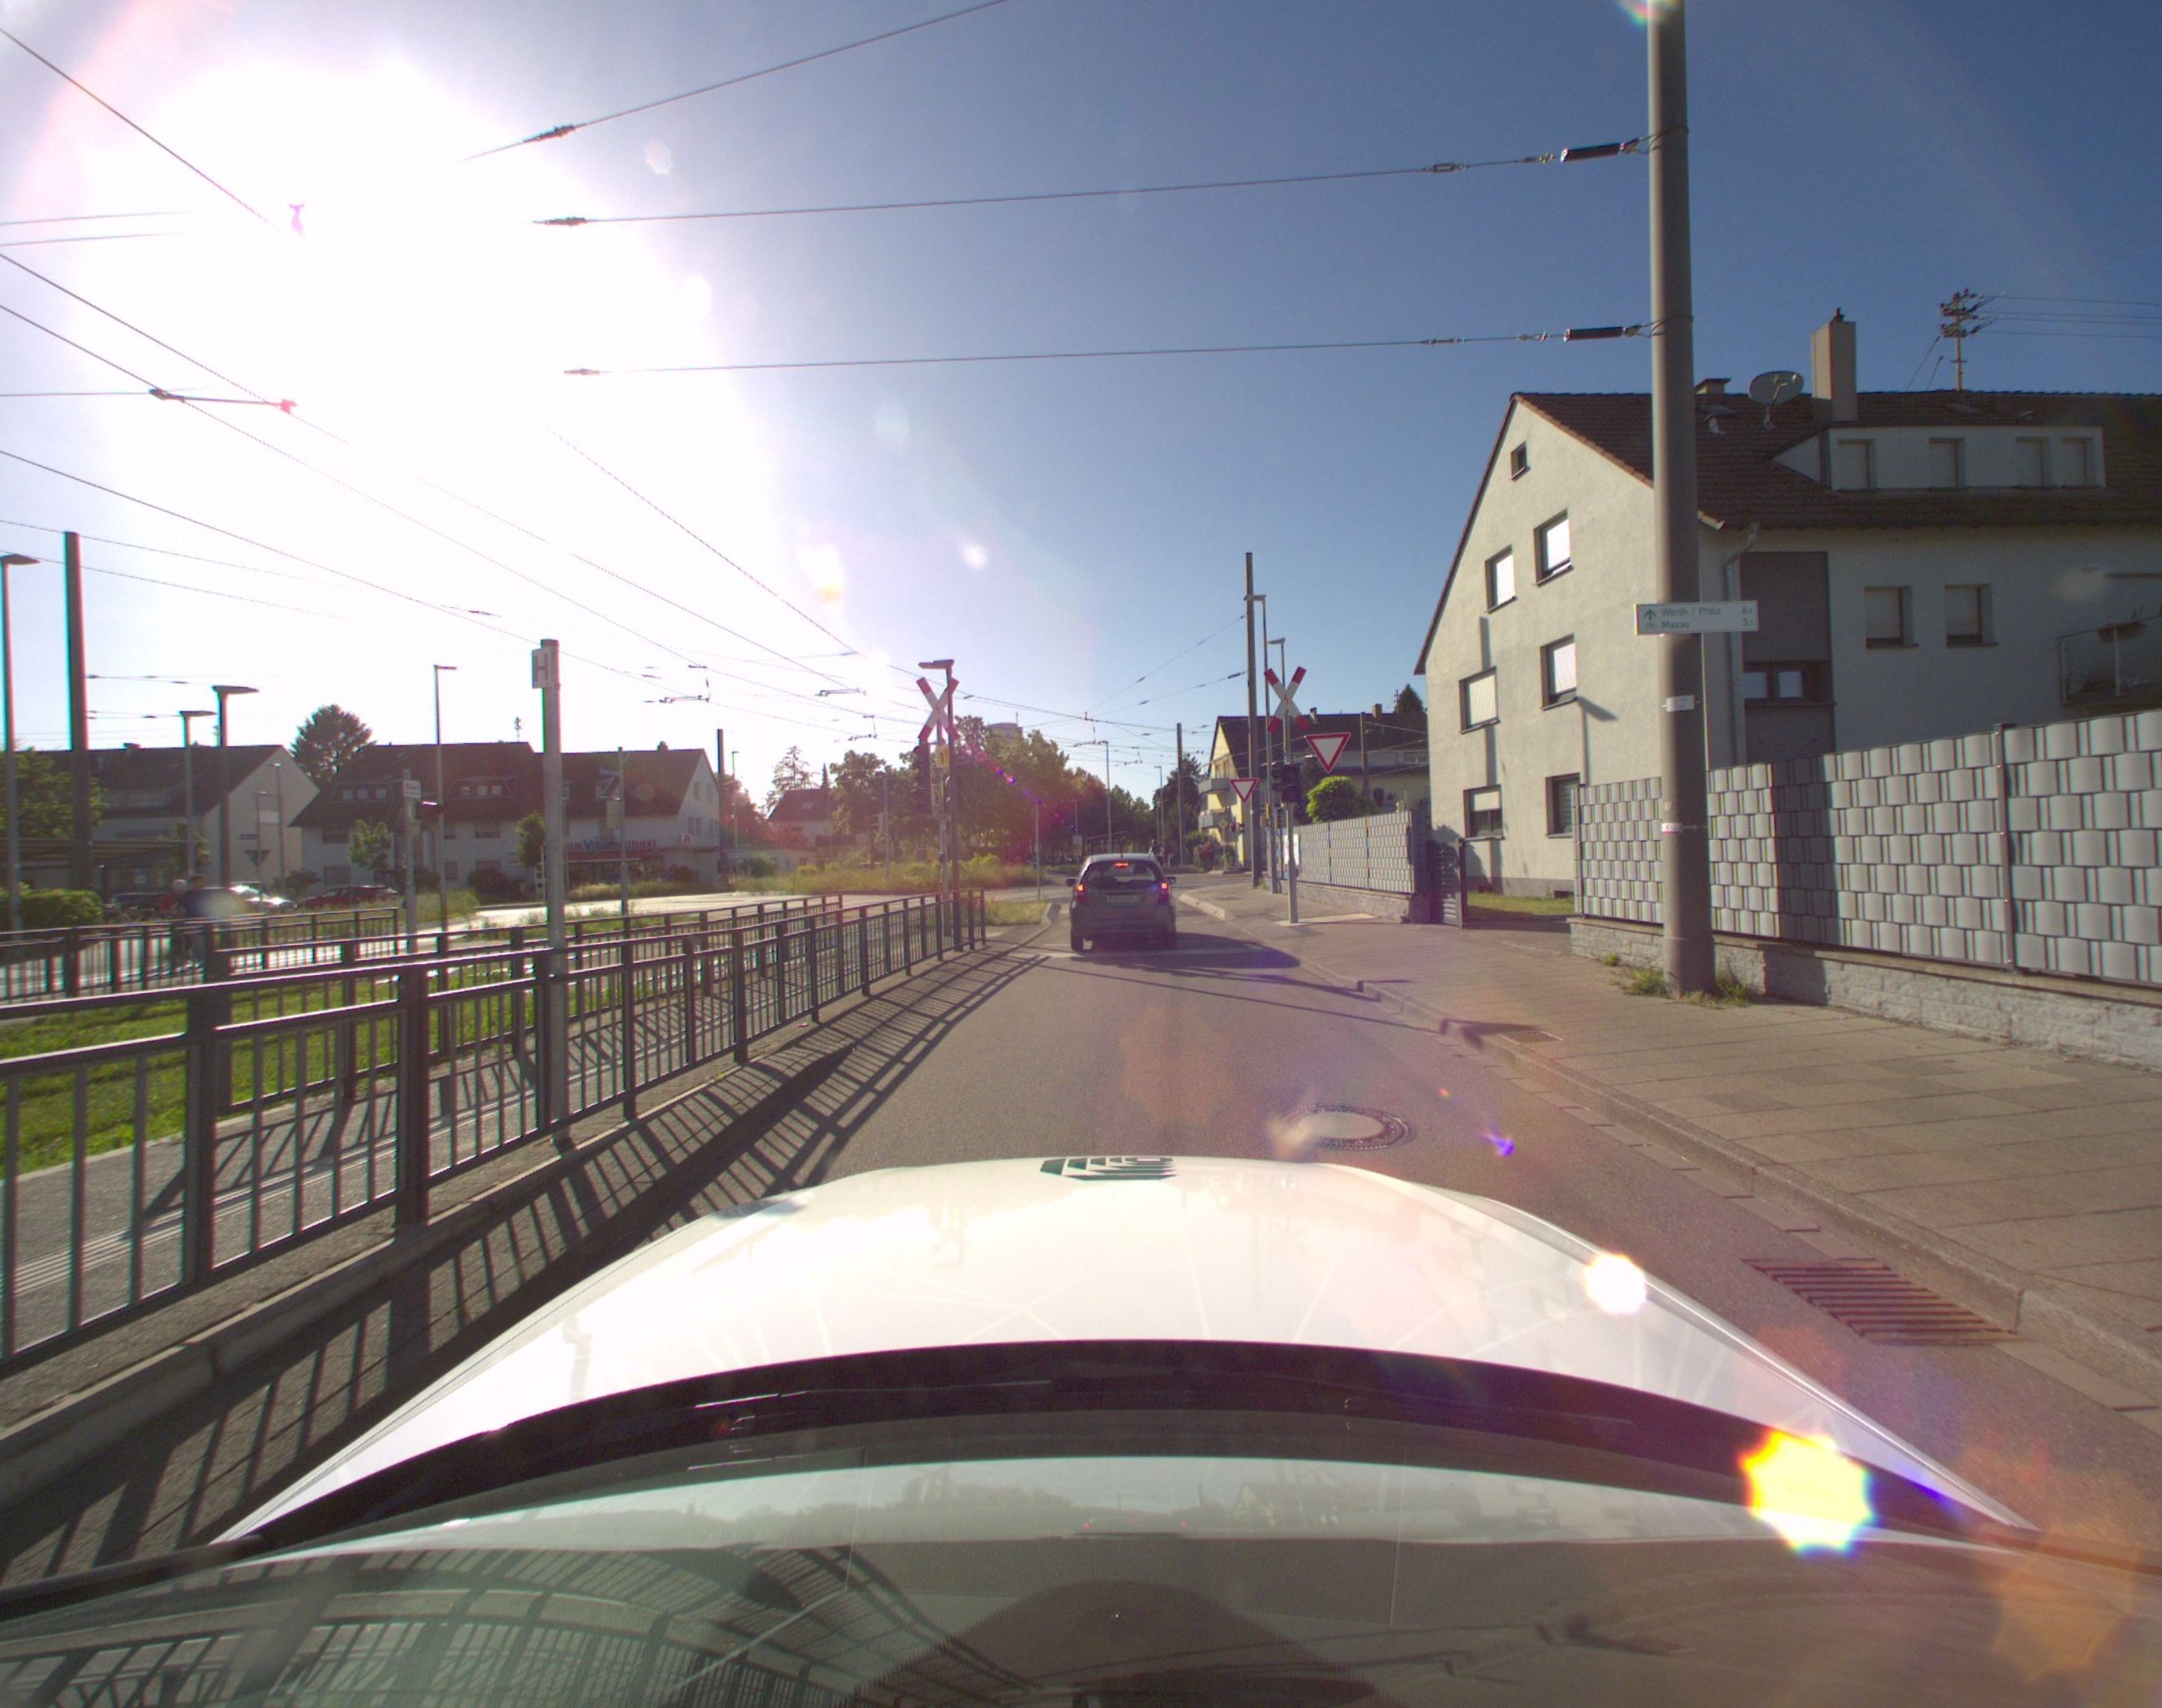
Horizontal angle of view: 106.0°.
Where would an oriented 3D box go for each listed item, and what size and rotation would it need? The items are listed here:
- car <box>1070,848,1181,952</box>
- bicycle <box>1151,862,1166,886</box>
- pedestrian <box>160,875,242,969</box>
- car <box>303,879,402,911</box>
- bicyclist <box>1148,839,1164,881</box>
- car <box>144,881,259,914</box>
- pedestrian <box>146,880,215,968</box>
[{"bbox_3d":[0.670,0.694,14.033,1.665,1.535,3.486,-1,0,0],"label":"car"},{"bbox_3d":[3.217,0.818,34.019,0.473,0.961,1.657,-1,-1,1],"label":"bicycle"},{"bbox_3d":[-17.468,1.331,16.181,0.726,1.762,0.771,-2,0,-2],"label":"pedestrian"},{"bbox_3d":[-39.365,2.215,44.066,3.507,1.473,1.816,-2,0,-8],"label":"car"},{"bbox_3d":[3.097,0.246,33.767,0.596,1.701,0.683,-1,-1,1],"label":"bicyclist"},{"bbox_3d":[-46.795,2.284,43.412,3.836,1.599,1.822,-1,-1,-8],"label":"car"},{"bbox_3d":[-18.496,1.414,16.744,0.591,1.732,0.689,-2,0,-1],"label":"pedestrian"}]
